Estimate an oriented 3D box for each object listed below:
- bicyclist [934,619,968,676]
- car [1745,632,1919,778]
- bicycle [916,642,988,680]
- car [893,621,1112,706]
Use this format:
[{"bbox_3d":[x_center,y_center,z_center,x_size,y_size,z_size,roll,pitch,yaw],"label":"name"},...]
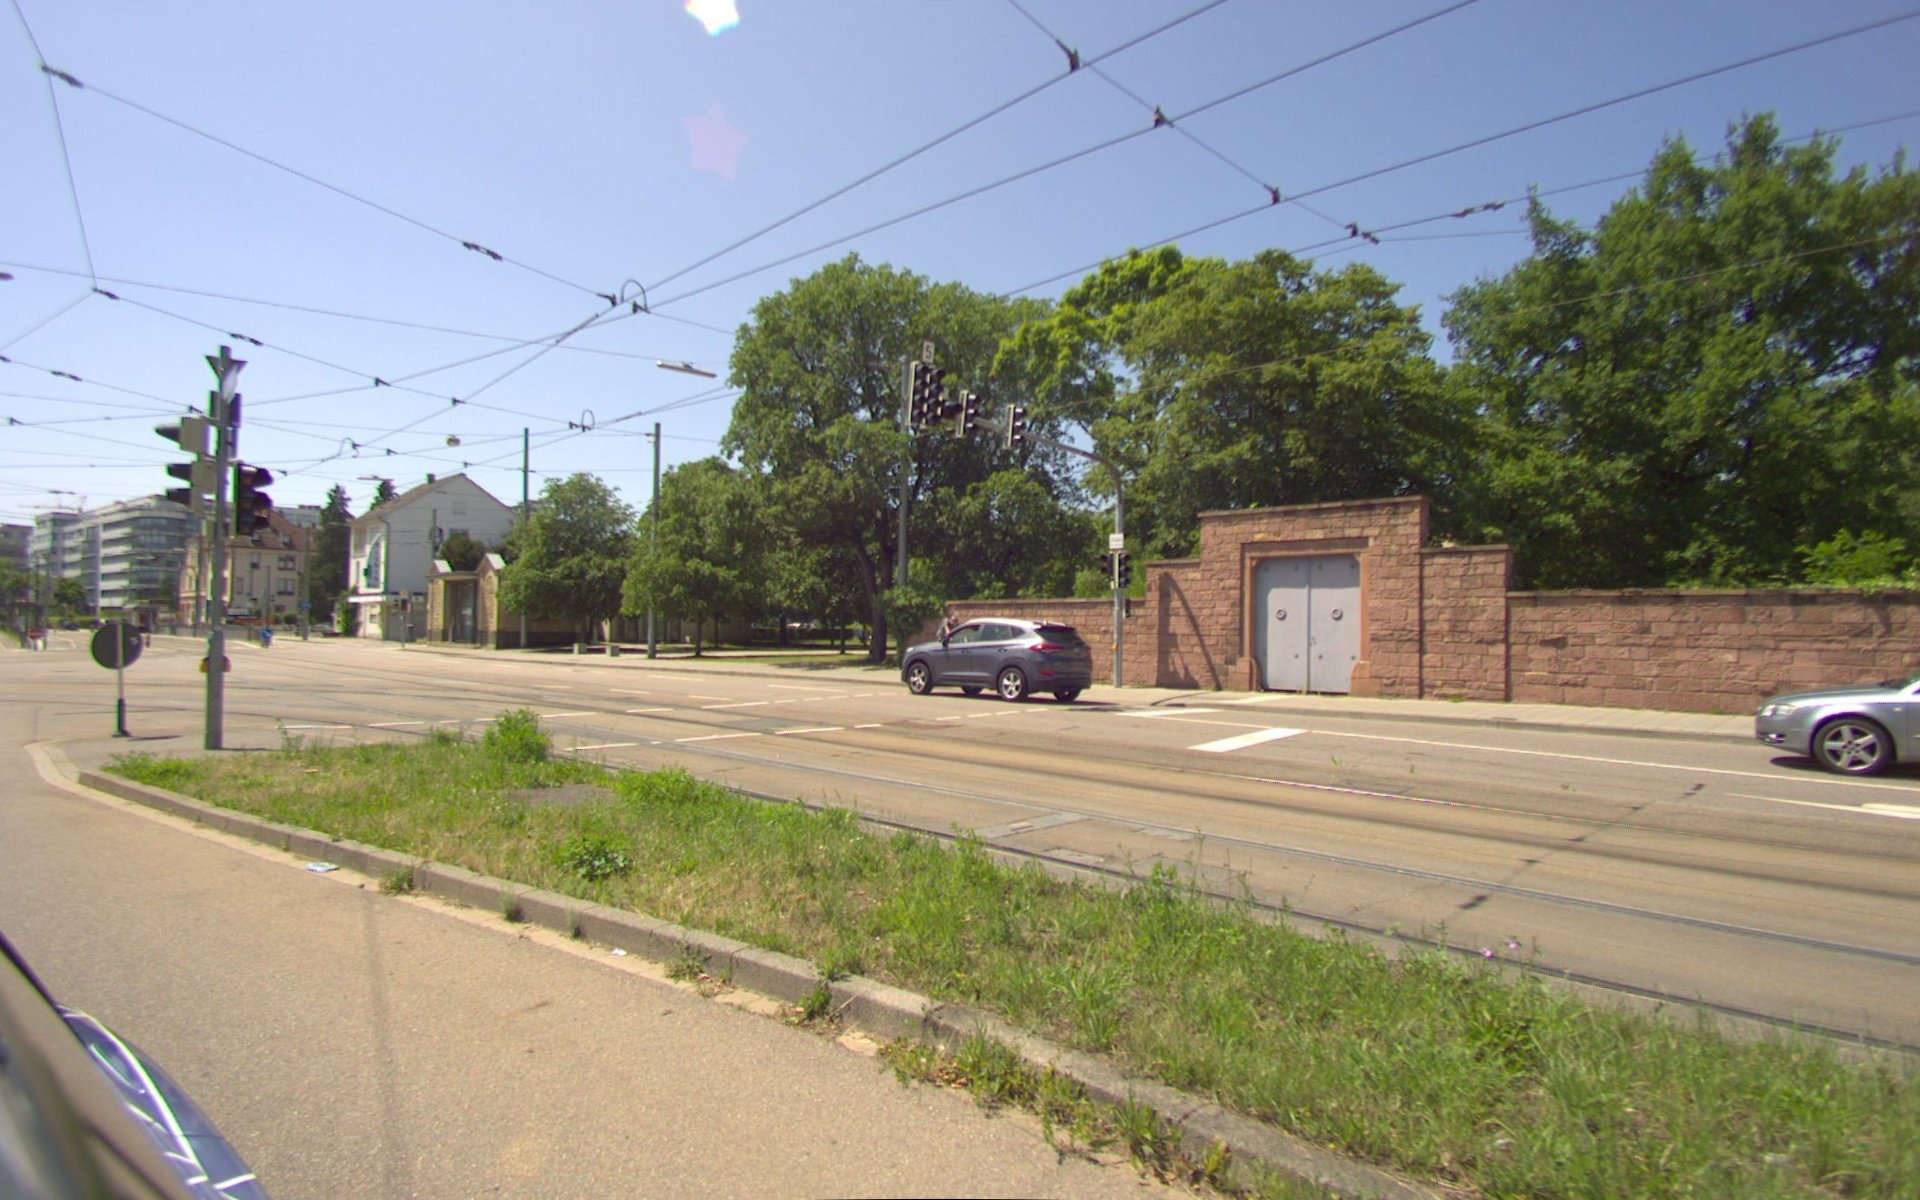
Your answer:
[{"bbox_3d":[-0.253,1.287,27.603,0.662,1.508,0.645,-2,-2,44],"label":"bicyclist"},{"bbox_3d":[11.186,1.089,10.406,1.819,1.427,4.714,-2,0,-44],"label":"car"},{"bbox_3d":[-0.236,1.637,27.573,2.115,0.964,0.645,-1,-2,44],"label":"bicycle"},{"bbox_3d":[0.781,1.244,20.856,4.468,1.567,1.819,-2,-3,45],"label":"car"}]
